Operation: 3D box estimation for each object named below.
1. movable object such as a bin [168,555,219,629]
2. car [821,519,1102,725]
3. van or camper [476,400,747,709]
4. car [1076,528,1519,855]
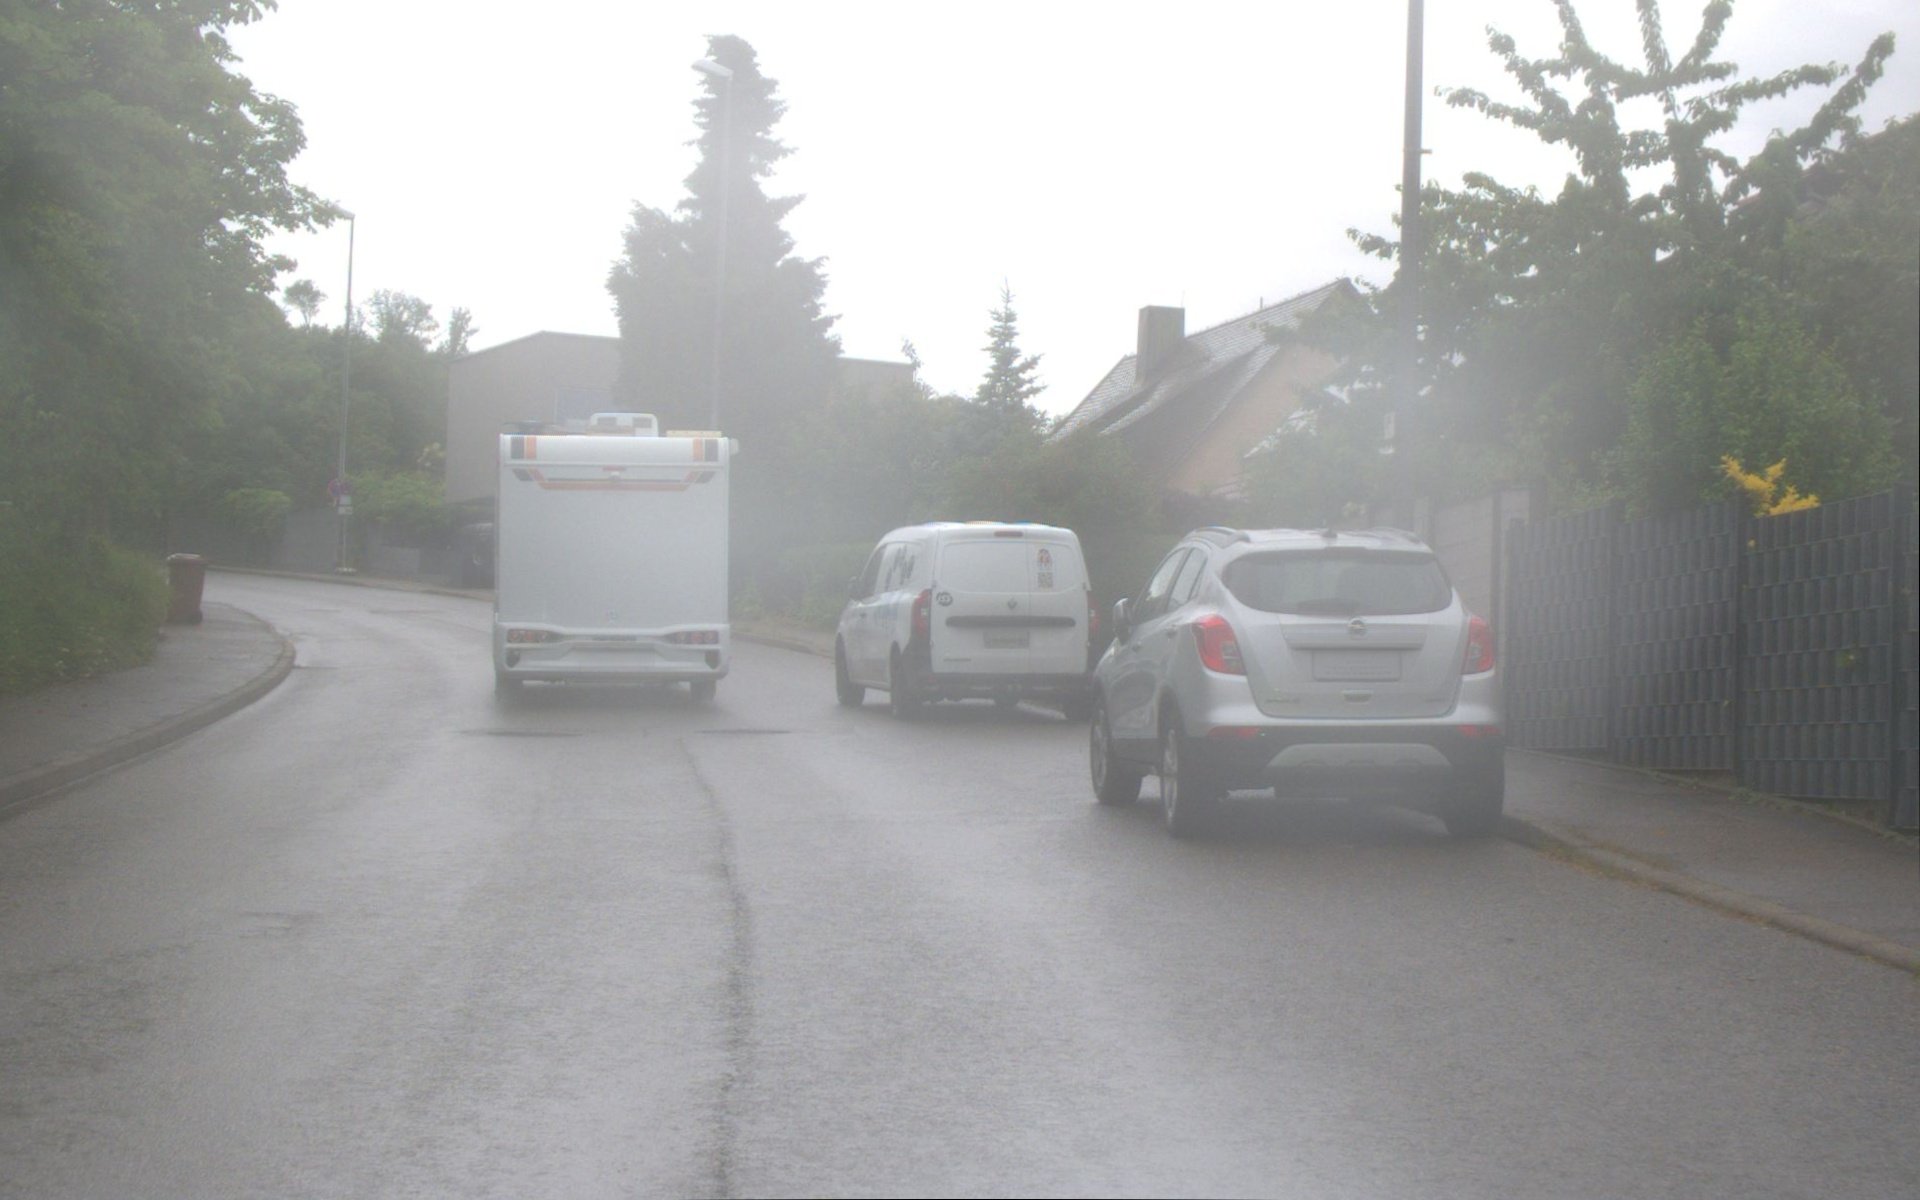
[{"bbox_3d":[-12.265,-0.134,55.026,0.694,1.086,0.803,3,4,-9],"label":"movable object such as a bin"},{"bbox_3d":[-0.076,0.186,32.539,1.778,1.797,4.708,1,0,-11],"label":"car"},{"bbox_3d":[-3.728,-0.435,35.744,2.539,2.915,5.949,1,0,-8],"label":"van or camper"},{"bbox_3d":[1.796,0.445,19.642,1.804,1.621,4.288,-1,1,-4],"label":"car"}]
